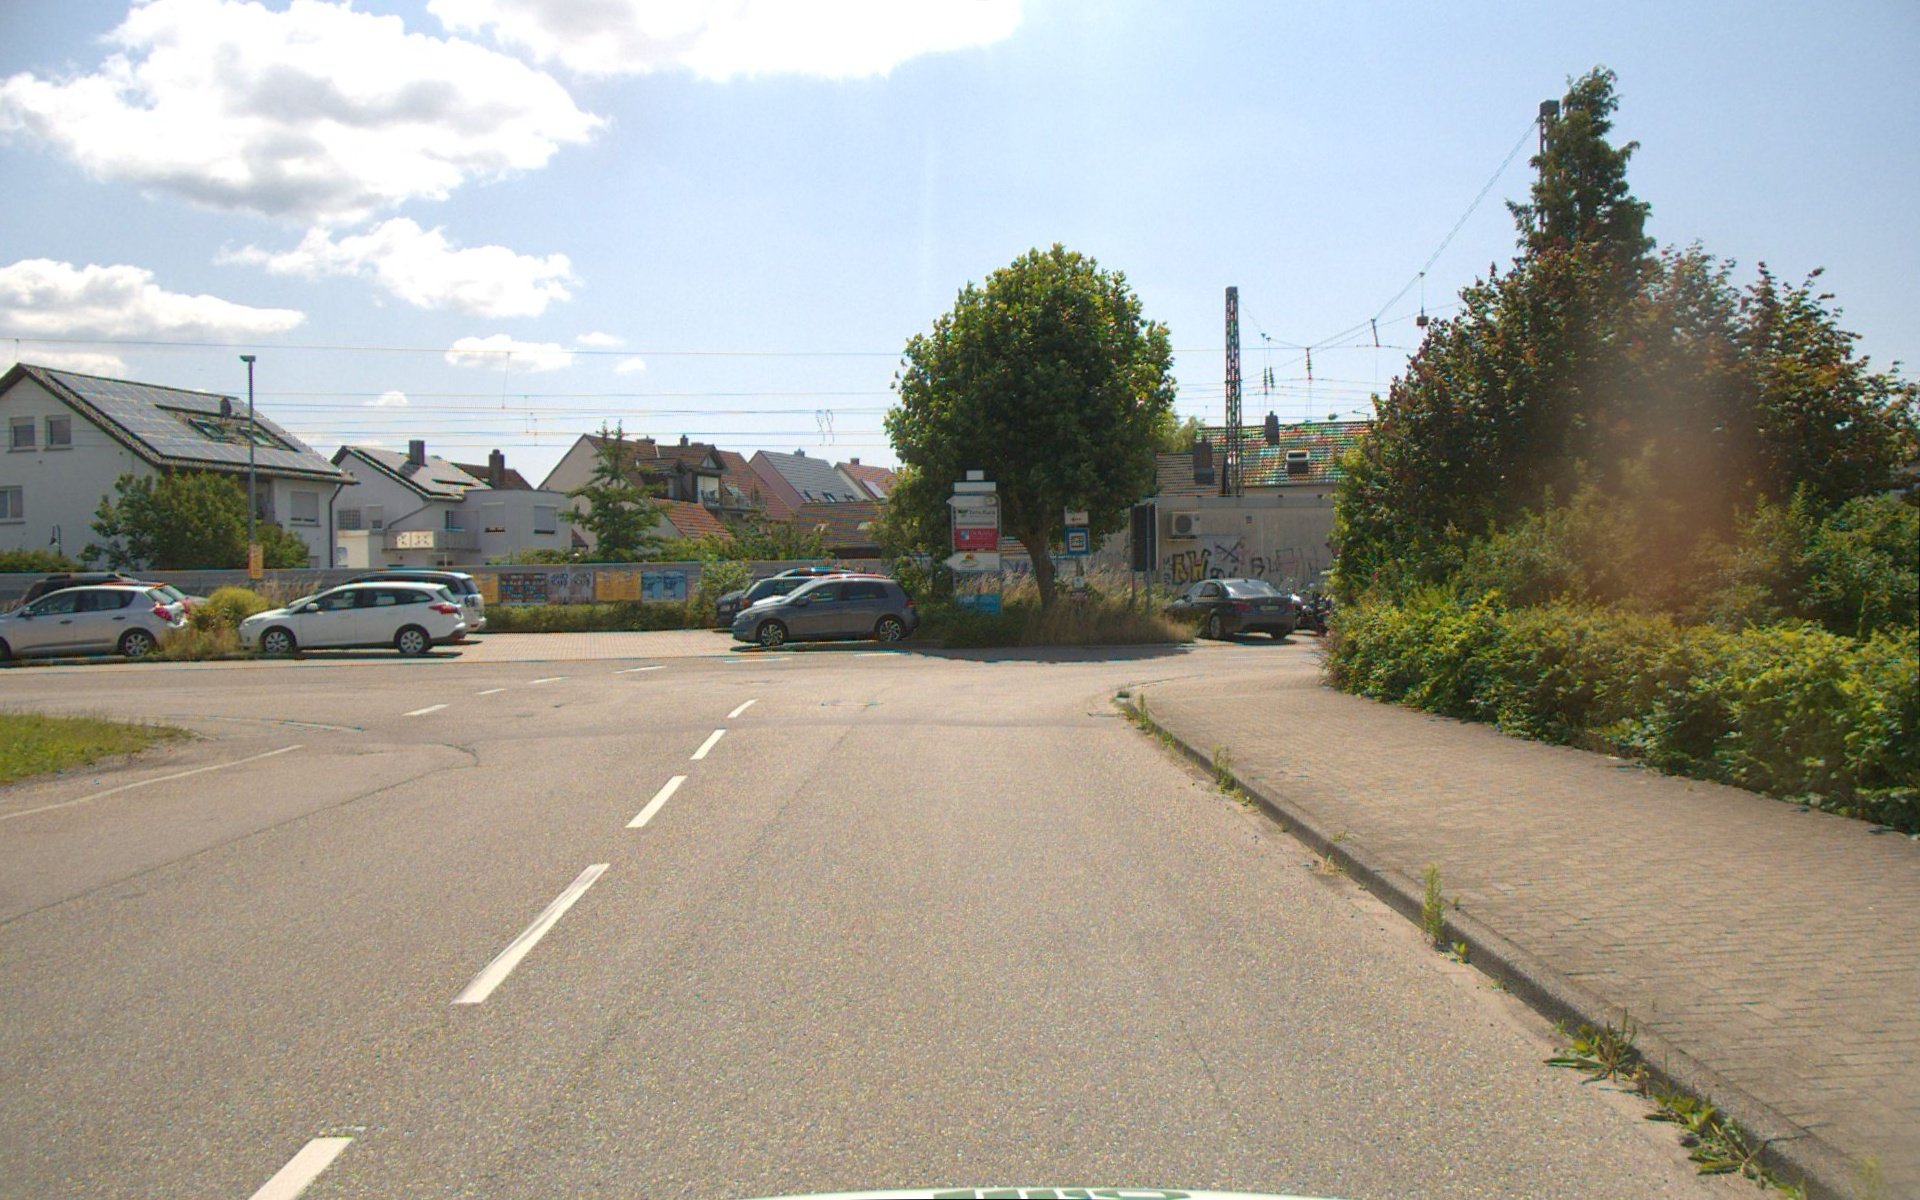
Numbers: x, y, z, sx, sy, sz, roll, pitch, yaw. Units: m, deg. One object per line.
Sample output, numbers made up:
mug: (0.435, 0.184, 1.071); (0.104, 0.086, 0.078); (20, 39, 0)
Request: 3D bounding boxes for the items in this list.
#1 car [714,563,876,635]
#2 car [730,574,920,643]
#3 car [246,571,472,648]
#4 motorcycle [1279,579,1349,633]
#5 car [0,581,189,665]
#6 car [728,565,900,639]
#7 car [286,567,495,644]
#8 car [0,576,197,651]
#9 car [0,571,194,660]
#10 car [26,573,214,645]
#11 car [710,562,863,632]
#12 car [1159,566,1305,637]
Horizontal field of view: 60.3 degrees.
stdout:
car: (-4.196, -0.042, 41.666); (3.915, 1.686, 1.995); (-1, 1, -10)
car: (-3.026, 0.182, 36.727); (4.110, 1.488, 1.661); (0, 0, -9)
car: (-12.494, 0.206, 34.653); (4.208, 1.502, 1.822); (1, 0, -13)
motorcycle: (8.771, 0.123, 41.044); (0.883, 1.249, 1.987); (-1, 2, -16)
car: (-17.890, 0.446, 33.461); (3.939, 1.589, 1.813); (-1, 0, -19)
car: (-3.489, 0.039, 39.180); (3.914, 1.614, 1.776); (-1, 0, -10)
car: (-13.437, 0.098, 39.245); (4.370, 1.720, 1.996); (0, 2, -9)
car: (-19.712, 0.283, 37.952); (3.719, 1.585, 1.688); (-1, 1, -14)
car: (-18.810, 0.325, 35.373); (4.096, 1.667, 1.946); (-3, 1, -18)
car: (-20.195, 0.189, 39.896); (3.769, 1.617, 1.491); (-1, 1, -16)
car: (-4.647, -0.082, 44.030); (3.915, 1.760, 1.766); (1, 0, -10)
car: (6.521, 0.000, 40.039); (1.726, 1.410, 3.978); (0, 4, -21)
